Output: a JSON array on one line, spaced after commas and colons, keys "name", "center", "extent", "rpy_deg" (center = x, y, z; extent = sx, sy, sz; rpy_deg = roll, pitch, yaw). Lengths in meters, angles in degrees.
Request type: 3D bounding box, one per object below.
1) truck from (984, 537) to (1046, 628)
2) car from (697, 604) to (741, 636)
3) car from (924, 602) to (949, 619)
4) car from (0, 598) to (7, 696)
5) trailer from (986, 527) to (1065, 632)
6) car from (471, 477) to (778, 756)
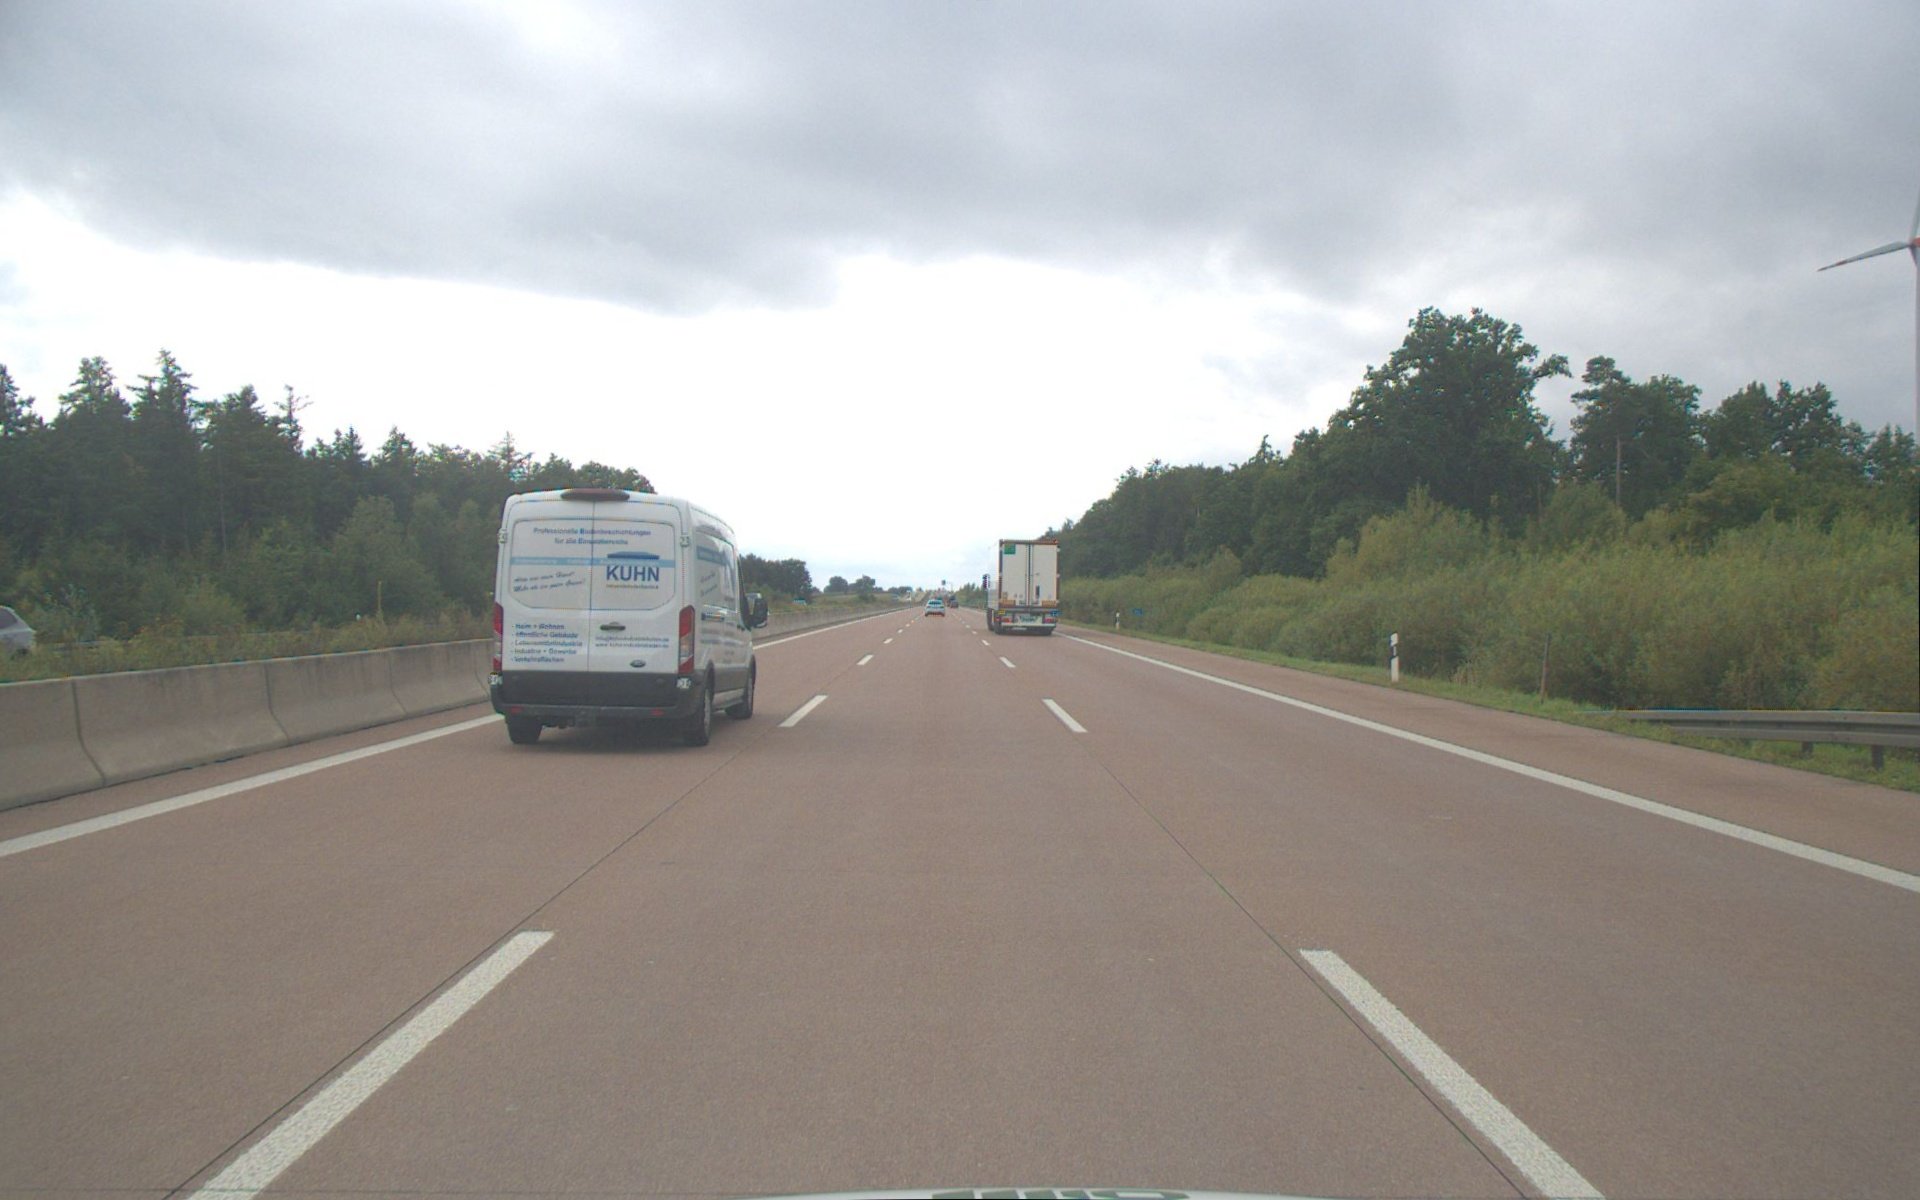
[{"name": "truck", "center": [2.731, -0.850, 83.146], "extent": [2.862, 4.369, 5.334], "rpy_deg": [0, 0, -1]}, {"name": "car", "center": [-16.769, 1.370, 115.438], "extent": [2.299, 2.065, 5.853], "rpy_deg": [1, 0, -1]}, {"name": "car", "center": [-2.162, 0.976, 153.193], "extent": [2.119, 1.476, 4.719], "rpy_deg": [2, 0, 1]}, {"name": "car", "center": [-17.766, 0.840, 26.722], "extent": [1.953, 1.710, 4.886], "rpy_deg": [-1, 0, -1]}, {"name": "trailer", "center": [2.835, -0.836, 75.556], "extent": [2.862, 4.369, 13.611], "rpy_deg": [0, 0, -1]}, {"name": "car", "center": [-3.479, 0.129, 18.772], "extent": [2.094, 2.551, 7.130], "rpy_deg": [0, 0, -1]}]
